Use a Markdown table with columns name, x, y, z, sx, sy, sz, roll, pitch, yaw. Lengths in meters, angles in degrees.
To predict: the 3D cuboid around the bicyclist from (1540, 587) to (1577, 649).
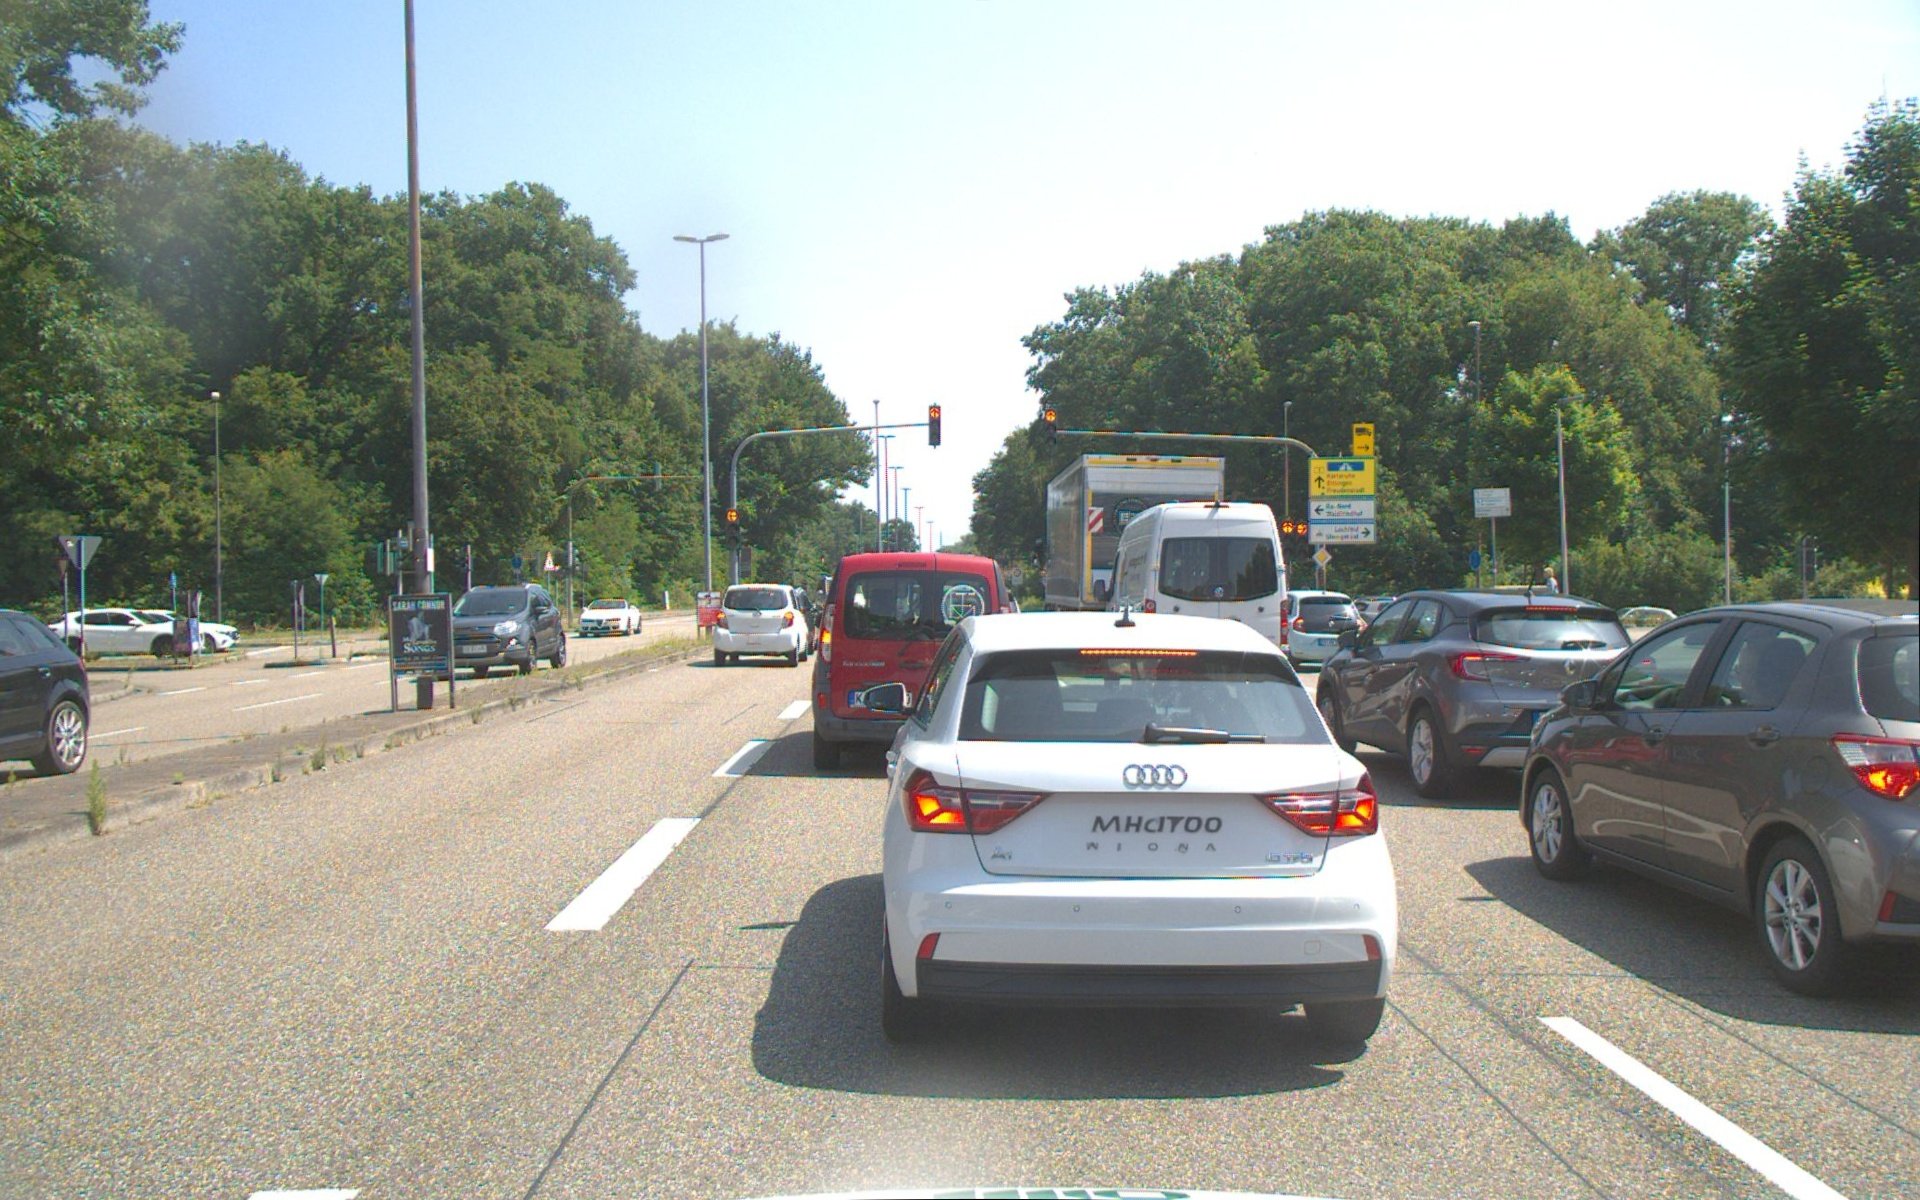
| name | x | y | z | sx | sy | sz | roll | pitch | yaw |
| --- | --- | --- | --- | --- | --- | --- | --- | --- | --- |
| bicyclist | 14.462 | 0.427 | 39.942 | 0.809 | 1.464 | 0.599 | -1 | 0 | 20 |

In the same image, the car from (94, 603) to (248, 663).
| name | x | y | z | sx | sy | sz | roll | pitch | yaw |
| --- | --- | --- | --- | --- | --- | --- | --- | --- | --- |
| car | -26.985 | 1.105 | 56.675 | 4.291 | 1.710 | 1.807 | -4 | 0 | -9 |

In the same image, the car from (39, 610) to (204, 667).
| name | x | y | z | sx | sy | sz | roll | pitch | yaw |
| --- | --- | --- | --- | --- | --- | --- | --- | --- | --- |
| car | -26.727 | 1.232 | 52.860 | 4.290 | 1.711 | 1.807 | 1 | 0 | -9 |

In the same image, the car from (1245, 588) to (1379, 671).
| name | x | y | z | sx | sy | sz | roll | pitch | yaw |
| --- | --- | --- | --- | --- | --- | --- | --- | --- | --- |
| car | 7.008 | 0.539 | 33.318 | 1.677 | 1.573 | 4.090 | 0 | 0 | -3 |

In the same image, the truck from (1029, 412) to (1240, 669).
| name | x | y | z | sx | sy | sz | roll | pitch | yaw |
| --- | --- | --- | --- | --- | --- | --- | --- | --- | --- |
| truck | 3.324 | -1.095 | 35.001 | 3.026 | 4.511 | 11.578 | 1 | 0 | -1 |

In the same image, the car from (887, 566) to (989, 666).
| name | x | y | z | sx | sy | sz | roll | pitch | yaw |
| --- | --- | --- | --- | --- | --- | --- | --- | --- | --- |
| car | -0.449 | 0.252 | 29.432 | 1.677 | 1.660 | 4.090 | 0 | 0 | -3 |

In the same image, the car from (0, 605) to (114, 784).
| name | x | y | z | sx | sy | sz | roll | pitch | yaw |
| --- | --- | --- | --- | --- | --- | --- | --- | --- | --- |
| car | -8.239 | 0.789 | 12.562 | 1.645 | 1.362 | 3.998 | -3 | 1 | -3 |

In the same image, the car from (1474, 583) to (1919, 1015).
| name | x | y | z | sx | sy | sz | roll | pitch | yaw |
| --- | --- | --- | --- | --- | --- | --- | --- | --- | --- |
| car | 4.024 | 0.720 | 7.856 | 1.678 | 1.504 | 4.090 | 3 | 0 | -3 |

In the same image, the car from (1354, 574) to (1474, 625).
| name | x | y | z | sx | sy | sz | roll | pitch | yaw |
| --- | --- | --- | --- | --- | --- | --- | --- | --- | --- |
| car | 16.217 | -0.014 | 59.279 | 3.902 | 1.719 | 1.880 | -1 | 0 | 8 |

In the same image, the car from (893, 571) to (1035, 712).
| name | x | y | z | sx | sy | sz | roll | pitch | yaw |
| --- | --- | --- | --- | --- | --- | --- | --- | --- | --- |
| car | -0.034 | 0.478 | 21.654 | 1.677 | 1.660 | 4.090 | 0 | 0 | -3 |

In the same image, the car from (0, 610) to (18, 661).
| name | x | y | z | sx | sy | sz | roll | pitch | yaw |
| --- | --- | --- | --- | --- | --- | --- | --- | --- | --- |
| car | -34.449 | 1.166 | 55.749 | 4.294 | 1.711 | 1.805 | 1 | -1 | -12 |

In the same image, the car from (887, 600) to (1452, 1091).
| name | x | y | z | sx | sy | sz | roll | pitch | yaw |
| --- | --- | --- | --- | --- | --- | --- | --- | --- | --- |
| car | 0.539 | 0.722 | 6.934 | 1.677 | 1.410 | 4.090 | 0 | 0 | -3 |

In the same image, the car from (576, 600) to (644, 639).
| name | x | y | z | sx | sy | sz | roll | pitch | yaw |
| --- | --- | --- | --- | --- | --- | --- | --- | --- | --- |
| car | -12.938 | 0.693 | 61.386 | 1.683 | 1.284 | 4.300 | -3 | 0 | -2 |

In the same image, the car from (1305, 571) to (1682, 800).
| name | x | y | z | sx | sy | sz | roll | pitch | yaw |
| --- | --- | --- | --- | --- | --- | --- | --- | --- | --- |
| car | 4.229 | 0.593 | 13.809 | 1.677 | 1.621 | 4.090 | 0 | 0 | -3 |

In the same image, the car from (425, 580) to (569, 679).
| name | x | y | z | sx | sy | sz | roll | pitch | yaw |
| --- | --- | --- | --- | --- | --- | --- | --- | --- | --- |
| car | -8.584 | 0.503 | 30.963 | 1.653 | 1.628 | 3.883 | -3 | 0 | -2 |

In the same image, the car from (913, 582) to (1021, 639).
| name | x | y | z | sx | sy | sz | roll | pitch | yaw |
| --- | --- | --- | --- | --- | --- | --- | --- | --- | --- |
| car | 0.228 | 0.387 | 62.420 | 1.983 | 2.049 | 3.940 | -1 | 0 | -41 |

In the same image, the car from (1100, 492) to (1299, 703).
| name | x | y | z | sx | sy | sz | roll | pitch | yaw |
| --- | --- | --- | --- | --- | --- | --- | --- | --- | --- |
| car | 3.278 | -0.049 | 23.617 | 1.990 | 2.690 | 4.843 | 0 | 0 | -2 |

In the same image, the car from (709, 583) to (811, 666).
| name | x | y | z | sx | sy | sz | roll | pitch | yaw |
| --- | --- | --- | --- | --- | --- | --- | --- | --- | --- |
| car | -3.868 | 0.441 | 32.548 | 1.677 | 1.519 | 4.090 | 0 | 0 | -3 |

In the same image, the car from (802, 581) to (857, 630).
| name | x | y | z | sx | sy | sz | roll | pitch | yaw |
| --- | --- | --- | --- | --- | --- | --- | --- | --- | --- |
| car | -5.718 | 0.230 | 72.141 | 1.958 | 2.049 | 3.989 | -1 | 0 | -11 |

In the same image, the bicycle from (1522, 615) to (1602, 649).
| name | x | y | z | sx | sy | sz | roll | pitch | yaw |
| --- | --- | --- | --- | --- | --- | --- | --- | --- | --- |
| bicycle | 14.520 | 0.780 | 39.925 | 1.783 | 0.779 | 0.601 | -1 | 0 | 20 |

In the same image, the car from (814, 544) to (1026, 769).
| name | x | y | z | sx | sy | sz | roll | pitch | yaw |
| --- | --- | --- | --- | --- | --- | --- | --- | --- | --- |
| car | -0.402 | 0.432 | 15.150 | 1.677 | 1.779 | 4.090 | 0 | 0 | -3 |
